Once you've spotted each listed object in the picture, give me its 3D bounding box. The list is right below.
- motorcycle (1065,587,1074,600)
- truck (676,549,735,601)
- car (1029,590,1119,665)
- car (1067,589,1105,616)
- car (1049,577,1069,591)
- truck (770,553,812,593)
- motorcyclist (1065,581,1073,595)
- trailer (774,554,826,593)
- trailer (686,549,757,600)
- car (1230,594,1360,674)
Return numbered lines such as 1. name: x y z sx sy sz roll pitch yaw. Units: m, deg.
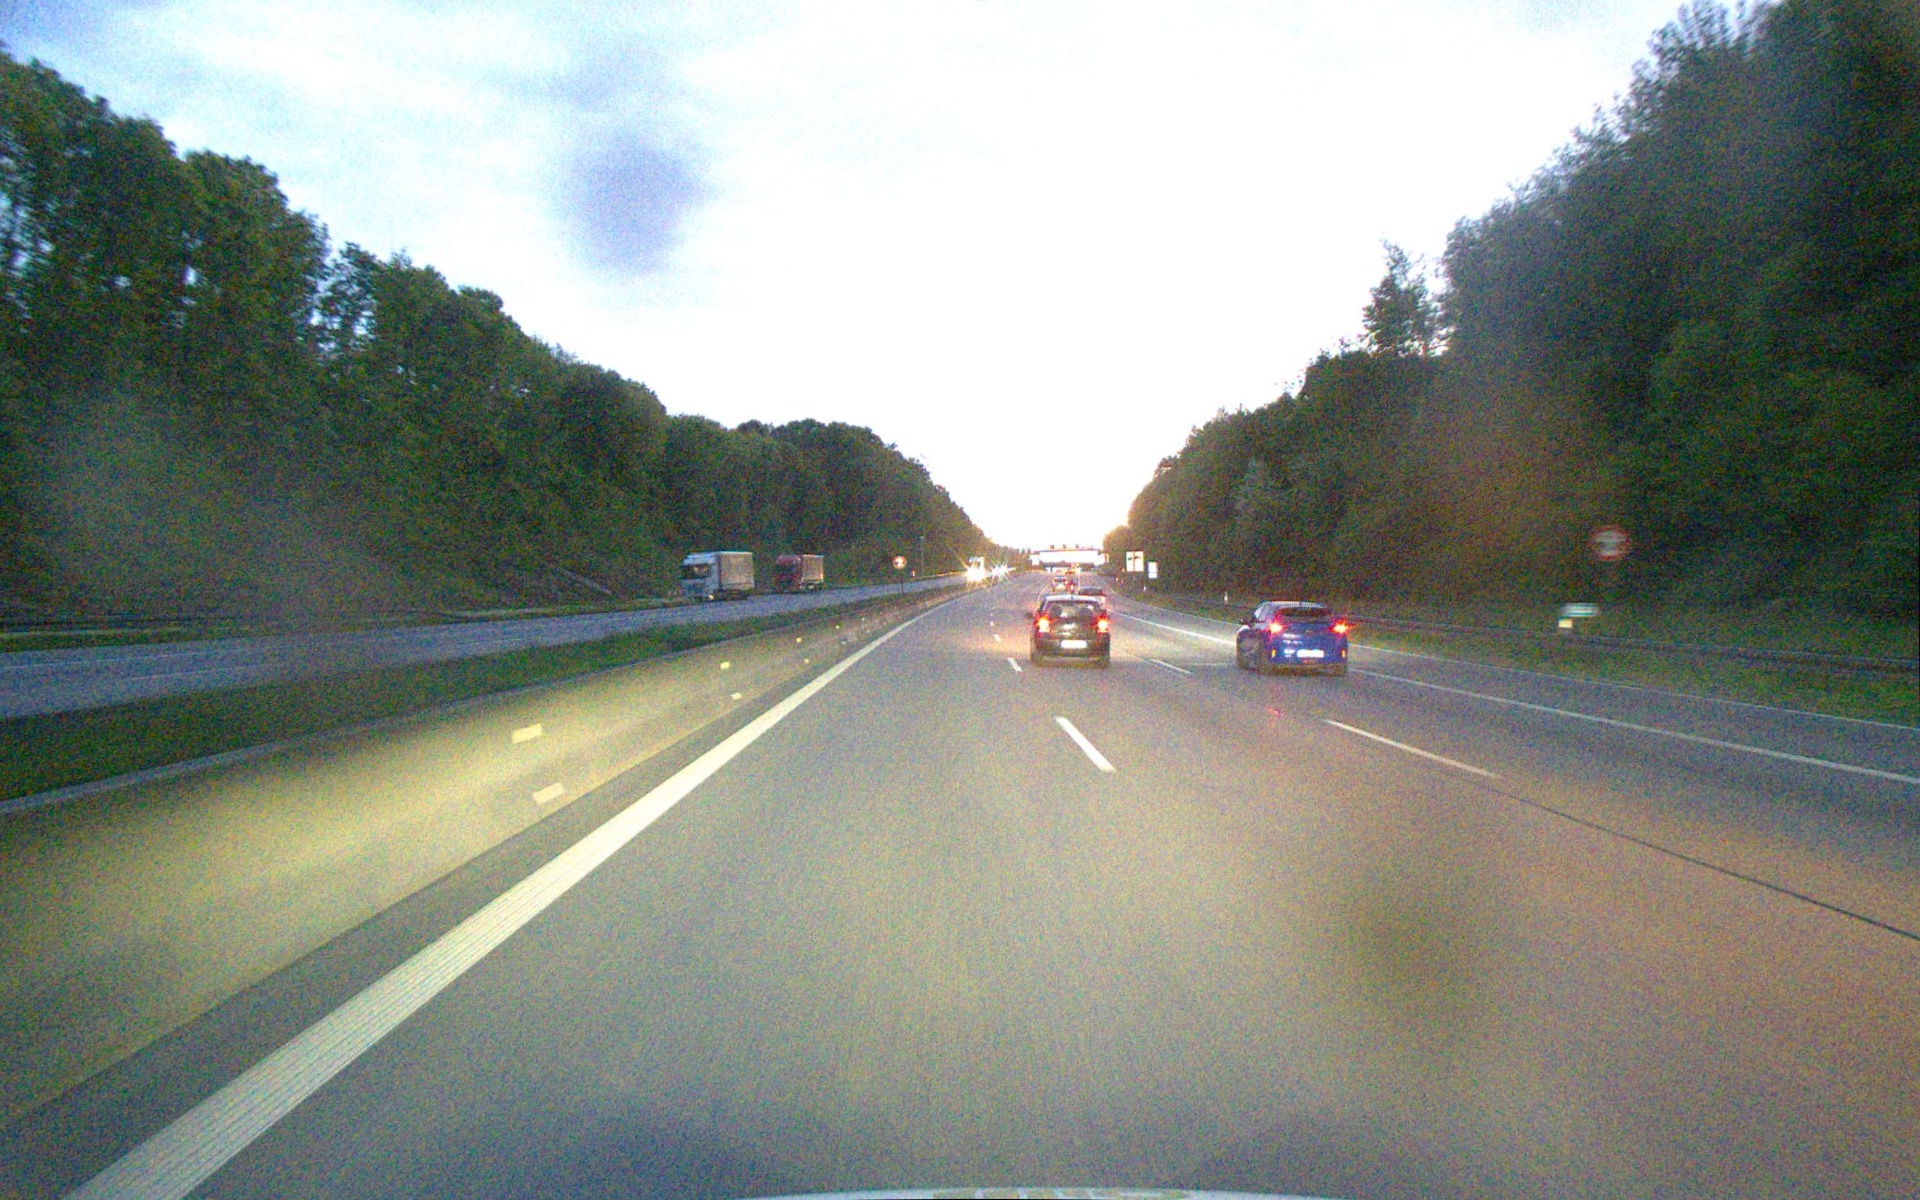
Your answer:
1. motorcycle: 10.337 -0.632 156.662 0.812 1.154 2.477 -1 0 4
2. truck: -21.089 -2.092 137.363 3.123 4.176 7.694 0 1 5
3. car: 2.432 0.559 36.037 1.669 1.535 4.232 1 0 0
4. car: 7.175 0.132 94.644 1.788 1.501 4.398 1 0 0
5. car: 10.690 -1.737 178.921 1.827 1.520 4.398 1 0 0
6. truck: -18.127 -2.929 178.148 3.123 4.176 7.694 0 1 5
7. motorcyclist: 10.322 -1.162 156.592 0.812 1.314 1.190 -1 0 4
8. trailer: -17.660 -2.935 183.734 3.123 4.176 14.193 0 1 5
9. trailer: -20.589 -2.214 143.688 3.124 4.176 13.748 0 1 5
10. car: 6.795 0.641 33.978 1.826 1.461 4.585 0 1 1
